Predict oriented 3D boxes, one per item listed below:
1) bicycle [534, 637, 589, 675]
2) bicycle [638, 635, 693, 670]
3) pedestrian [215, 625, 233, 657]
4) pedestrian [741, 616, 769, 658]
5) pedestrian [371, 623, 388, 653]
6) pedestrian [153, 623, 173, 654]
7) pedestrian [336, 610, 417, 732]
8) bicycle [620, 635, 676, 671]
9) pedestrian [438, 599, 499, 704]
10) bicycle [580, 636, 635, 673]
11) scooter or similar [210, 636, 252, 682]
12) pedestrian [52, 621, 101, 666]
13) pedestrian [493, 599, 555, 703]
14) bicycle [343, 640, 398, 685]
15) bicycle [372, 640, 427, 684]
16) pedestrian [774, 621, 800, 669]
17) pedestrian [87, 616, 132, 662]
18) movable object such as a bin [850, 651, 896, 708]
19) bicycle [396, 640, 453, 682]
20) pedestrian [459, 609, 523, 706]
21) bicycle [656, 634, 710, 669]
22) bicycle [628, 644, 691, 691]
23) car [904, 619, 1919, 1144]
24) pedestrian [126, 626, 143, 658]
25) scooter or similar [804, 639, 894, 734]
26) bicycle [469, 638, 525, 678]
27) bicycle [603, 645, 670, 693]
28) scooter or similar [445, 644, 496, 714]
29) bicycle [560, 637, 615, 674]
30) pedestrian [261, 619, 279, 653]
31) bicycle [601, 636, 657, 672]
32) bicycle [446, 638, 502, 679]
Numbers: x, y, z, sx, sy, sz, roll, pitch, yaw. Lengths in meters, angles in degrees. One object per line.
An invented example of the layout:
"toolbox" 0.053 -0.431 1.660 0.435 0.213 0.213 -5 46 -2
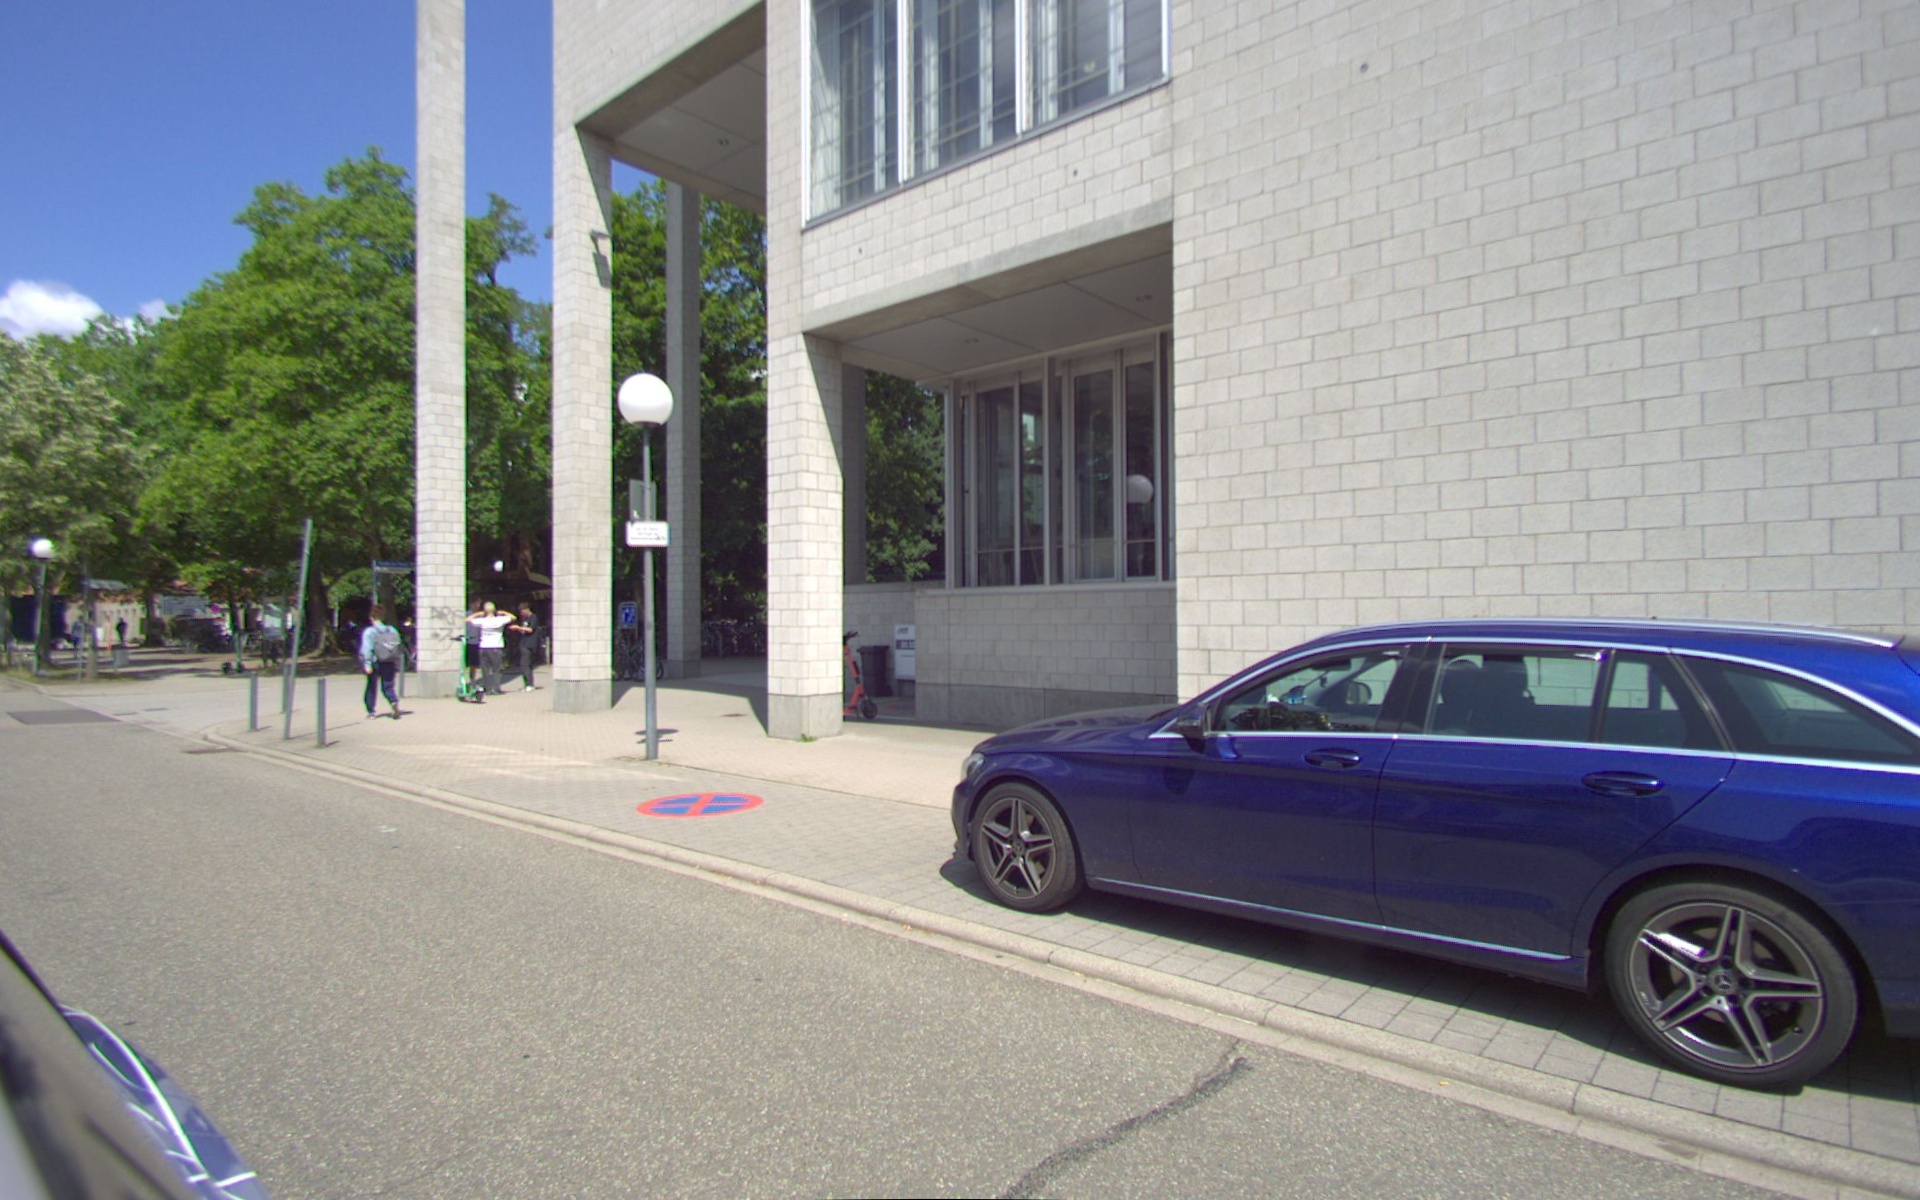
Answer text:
"bicycle" -11.884 1.646 30.176 2.123 1.066 0.614 -1 -1 41
"bicycle" -9.467 1.662 32.510 2.173 1.066 0.614 -1 -1 41
"pedestrian" -38.968 2.151 53.597 0.669 1.683 0.815 1 -2 -43
"pedestrian" -9.873 1.772 48.779 0.996 2.029 0.998 -1 -1 15
"pedestrian" -30.477 2.004 53.158 0.500 1.543 0.583 -1 -1 20
"pedestrian" -49.786 2.385 63.234 0.668 1.907 0.816 0 -1 -9
"pedestrian" -8.853 1.040 15.337 0.750 1.738 1.236 -2 1 -44
"bicycle" -9.881 1.658 31.999 2.173 1.066 0.614 -1 -1 41
"pedestrian" -9.864 1.019 20.299 1.080 2.029 0.745 -2 -2 41
"bicycle" -10.818 1.651 31.055 2.123 1.066 0.614 -1 -1 41
"scooter or similar" -20.413 1.635 28.352 0.702 1.200 1.620 0 -1 -27
"pedestrian" -37.054 1.815 42.451 1.368 1.838 1.382 -2 -2 40
"pedestrian" -8.797 1.011 20.418 1.080 2.029 0.745 -2 -2 41
"bicycle" -15.235 1.599 26.138 1.998 1.115 0.502 -2 -2 37
"bicycle" -14.784 1.615 26.679 2.123 1.066 0.584 -1 -1 41
"pedestrian" -8.955 2.329 52.506 0.996 2.438 0.998 -1 -1 15
"pedestrian" -38.508 1.769 45.818 1.368 2.029 1.382 -2 -2 40
"movable object such as a bin" -1.578 1.431 18.371 0.701 0.986 0.478 -2 -2 41
"bicycle" -14.383 1.619 27.160 2.123 1.066 0.614 -1 -1 41
"pedestrian" -8.968 1.085 19.349 1.080 1.794 0.745 -2 -2 41
"bicycle" -9.051 1.668 33.006 2.173 1.066 0.614 -1 -1 41
"bicycle" -6.873 1.517 23.093 1.966 0.994 0.510 -2 -2 45
"car" 2.009 0.825 4.495 4.663 1.434 1.708 -2 -2 42
"pedestrian" -45.140 2.289 55.359 0.669 1.683 0.815 1 -2 -43
"scooter or similar" -1.519 1.172 13.808 1.196 1.241 0.402 -1 -1 -8
"bicycle" -13.128 1.633 28.655 2.123 1.066 0.614 -1 -1 41
"bicycle" -7.265 1.514 22.667 1.966 0.994 0.588 -2 -2 45
"scooter or similar" -8.532 1.357 17.635 1.312 1.153 0.313 -2 -2 41
"bicycle" -11.251 1.646 30.508 2.123 1.066 0.614 -1 -1 41
"pedestrian" -35.038 1.821 51.398 0.745 1.683 0.825 0 -1 -35
"bicycle" -10.329 1.654 31.516 2.173 1.066 0.614 -1 -1 41
"bicycle" -13.548 1.613 28.159 2.123 1.066 0.614 -1 -1 41
